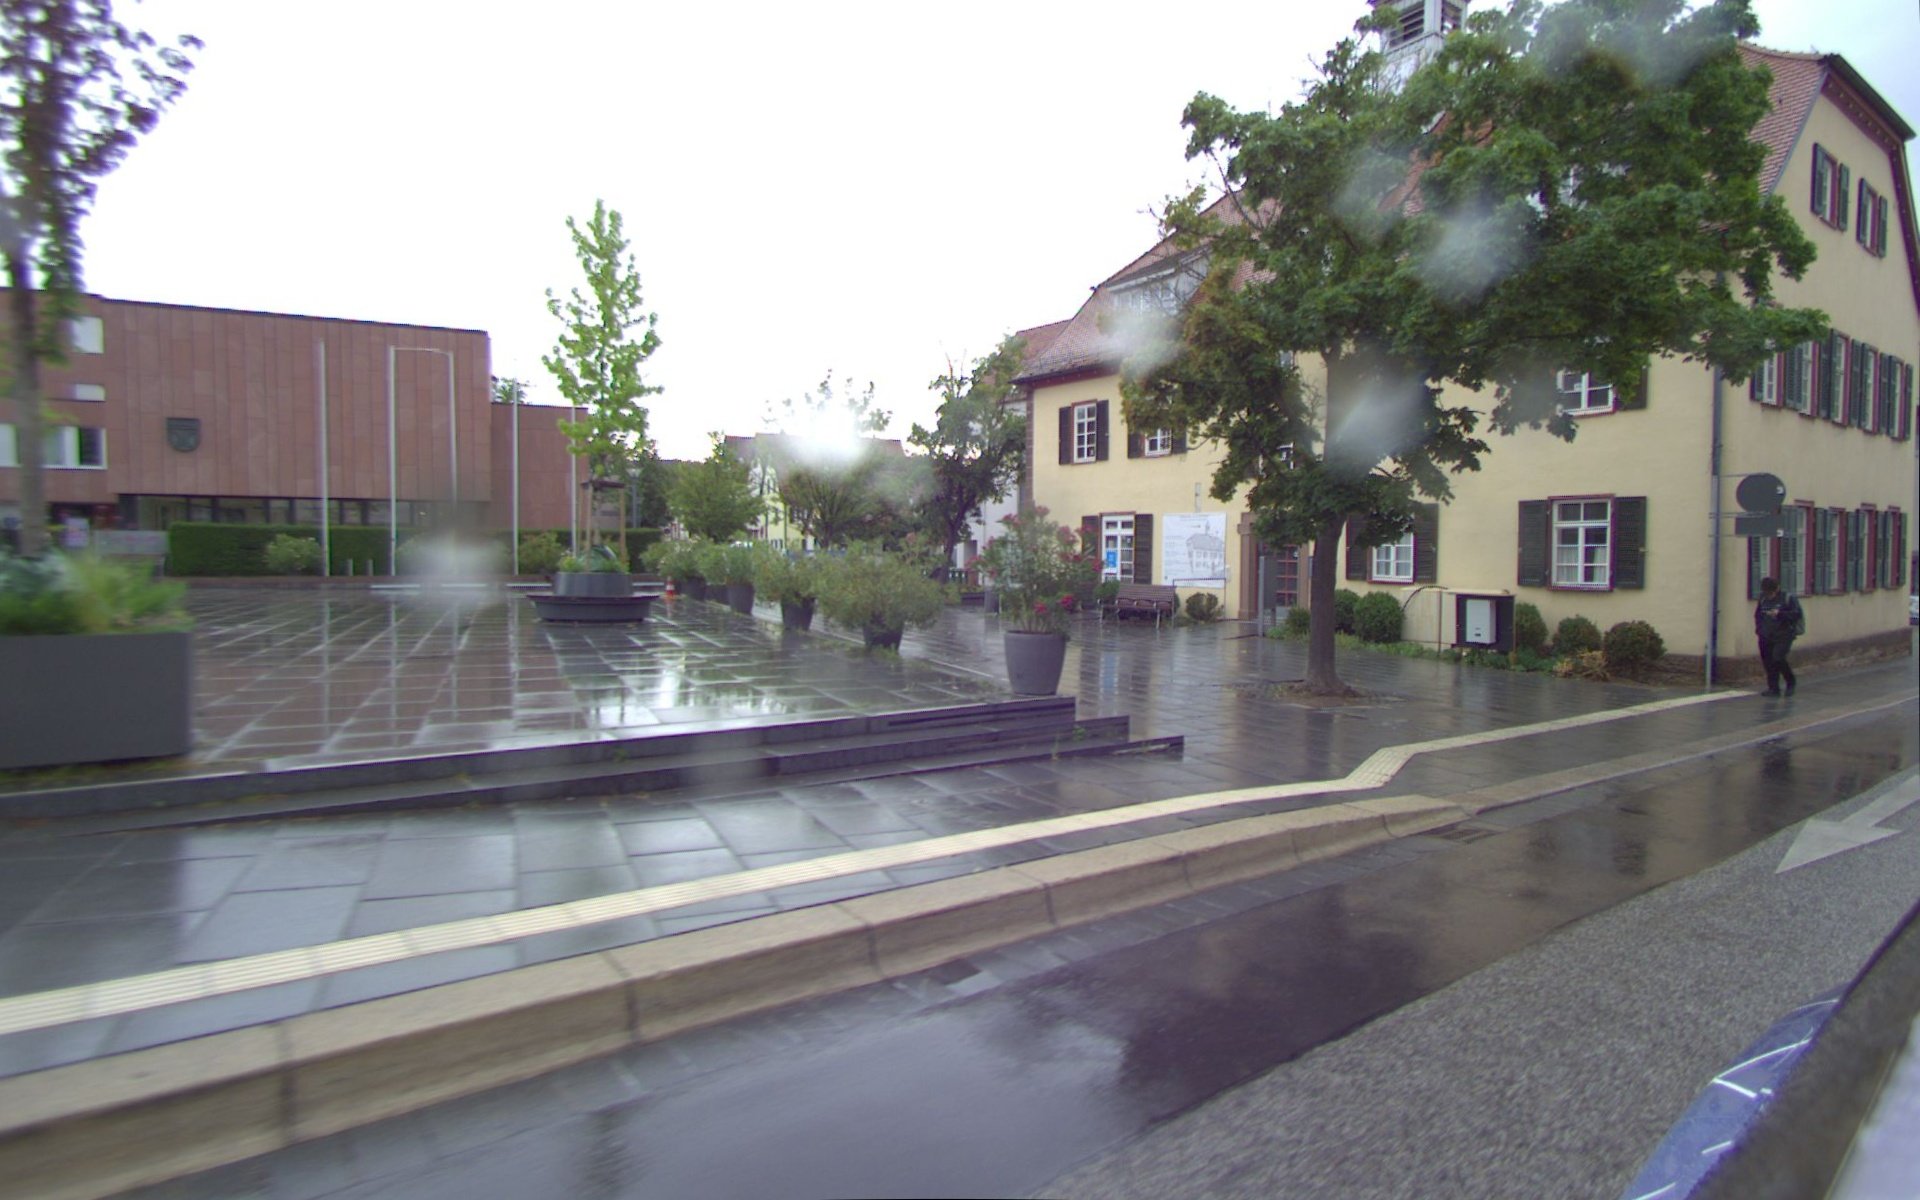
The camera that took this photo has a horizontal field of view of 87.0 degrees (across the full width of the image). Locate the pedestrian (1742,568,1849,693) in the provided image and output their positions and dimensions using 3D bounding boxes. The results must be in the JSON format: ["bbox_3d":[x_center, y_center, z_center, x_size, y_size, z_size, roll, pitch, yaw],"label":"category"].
[{"bbox_3d":[11.881,0.412,14.411,0.850,1.714,0.717,2,1,-8],"label":"pedestrian"}]

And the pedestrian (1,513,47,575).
[{"bbox_3d":[-31.424,-1.876,33.977,0.720,2.038,0.860,2,2,11],"label":"pedestrian"}]

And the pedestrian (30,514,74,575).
[{"bbox_3d":[-31.258,-1.904,34.838,0.720,2.038,0.860,2,2,11],"label":"pedestrian"}]

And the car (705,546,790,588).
[{"bbox_3d":[-11.867,-1.829,56.483,4.286,2.244,2.004,0,3,-25],"label":"car"}]
